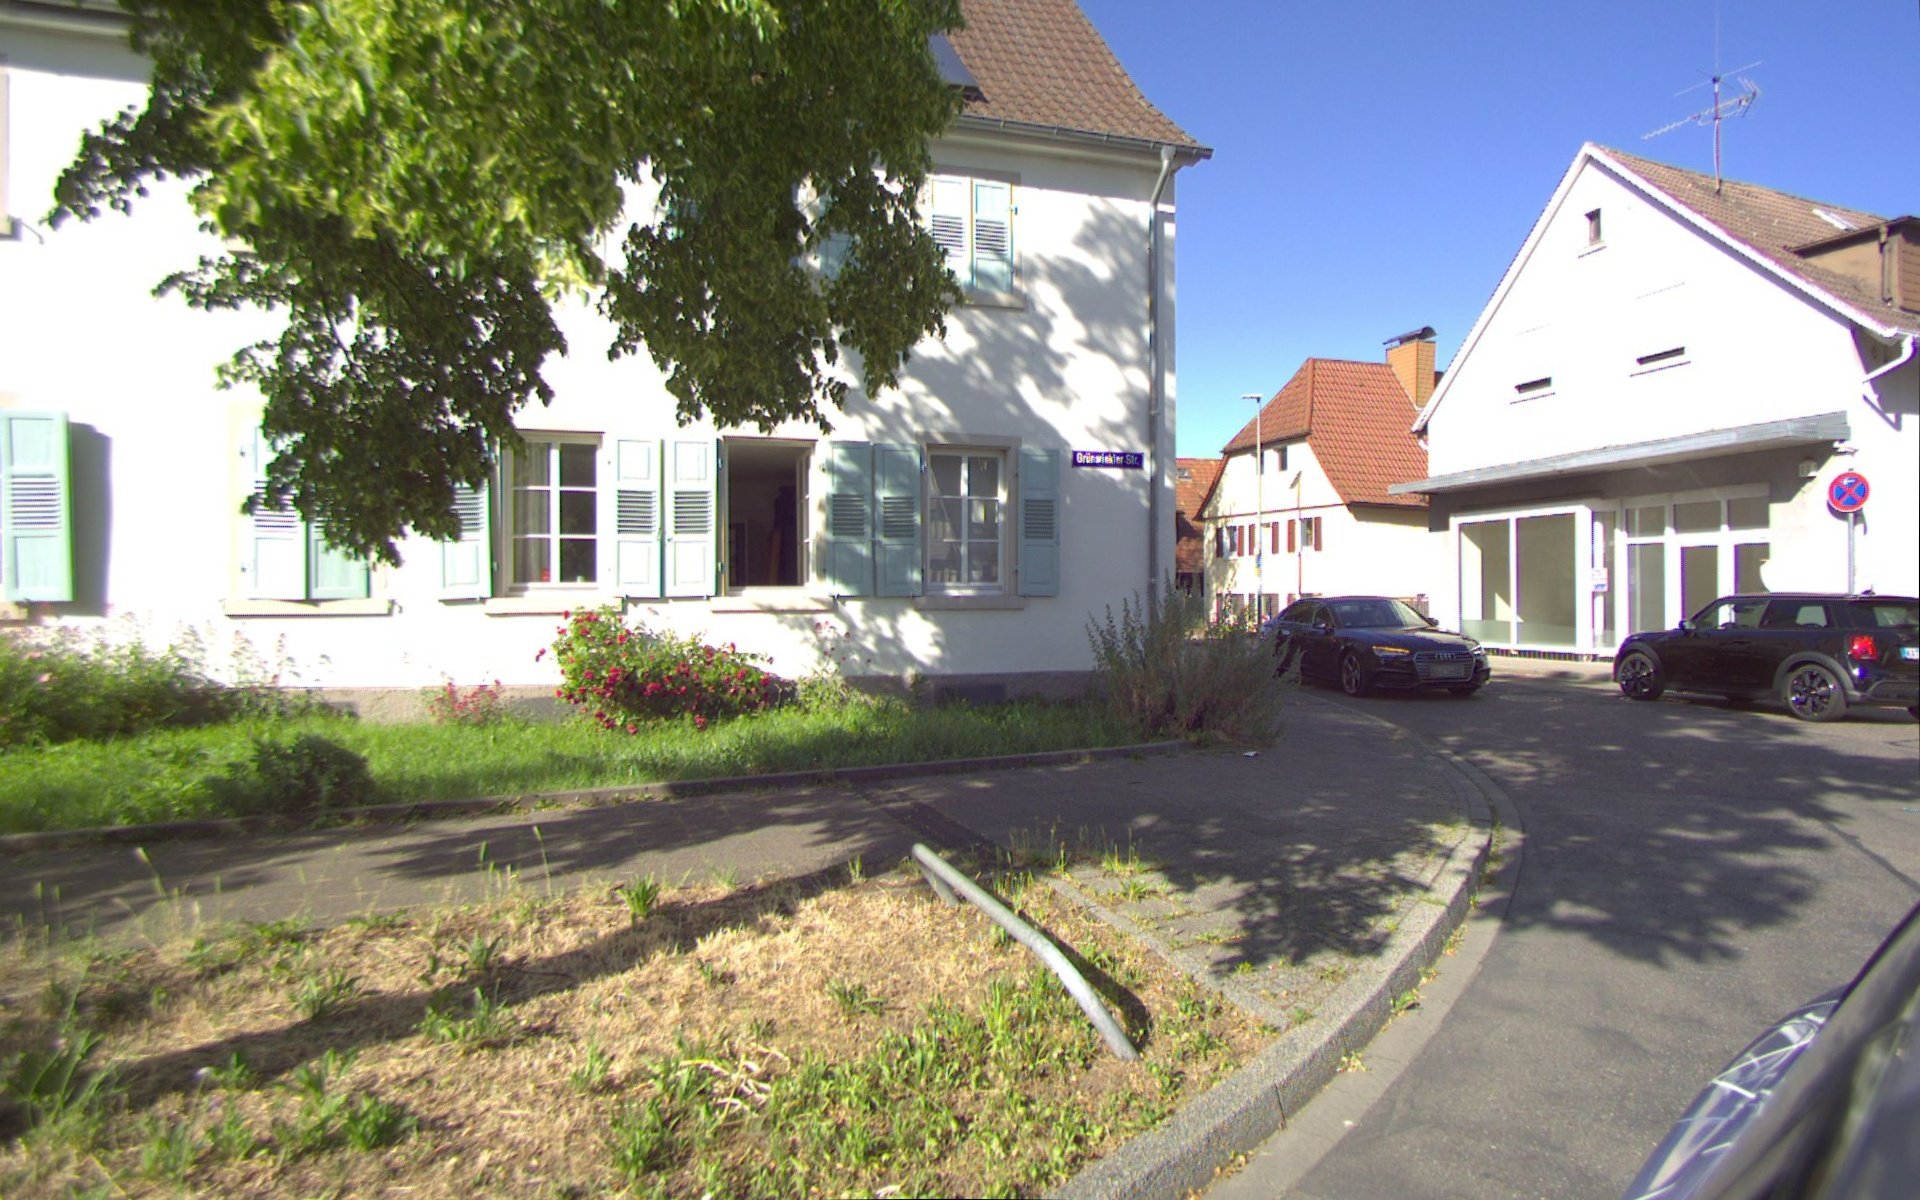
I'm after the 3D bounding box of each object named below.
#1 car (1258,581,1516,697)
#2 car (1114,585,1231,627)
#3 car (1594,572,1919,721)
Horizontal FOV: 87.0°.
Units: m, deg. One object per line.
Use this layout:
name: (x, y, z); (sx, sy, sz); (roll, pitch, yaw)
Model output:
car: (6.234, 0.499, 15.409); (1.773, 1.496, 4.348); (-1, 0, -5)
car: (8.259, 0.244, 39.359); (4.084, 1.480, 1.852); (2, -1, -23)
car: (9.874, 0.466, 12.254); (1.632, 1.496, 4.004); (1, 0, -5)
